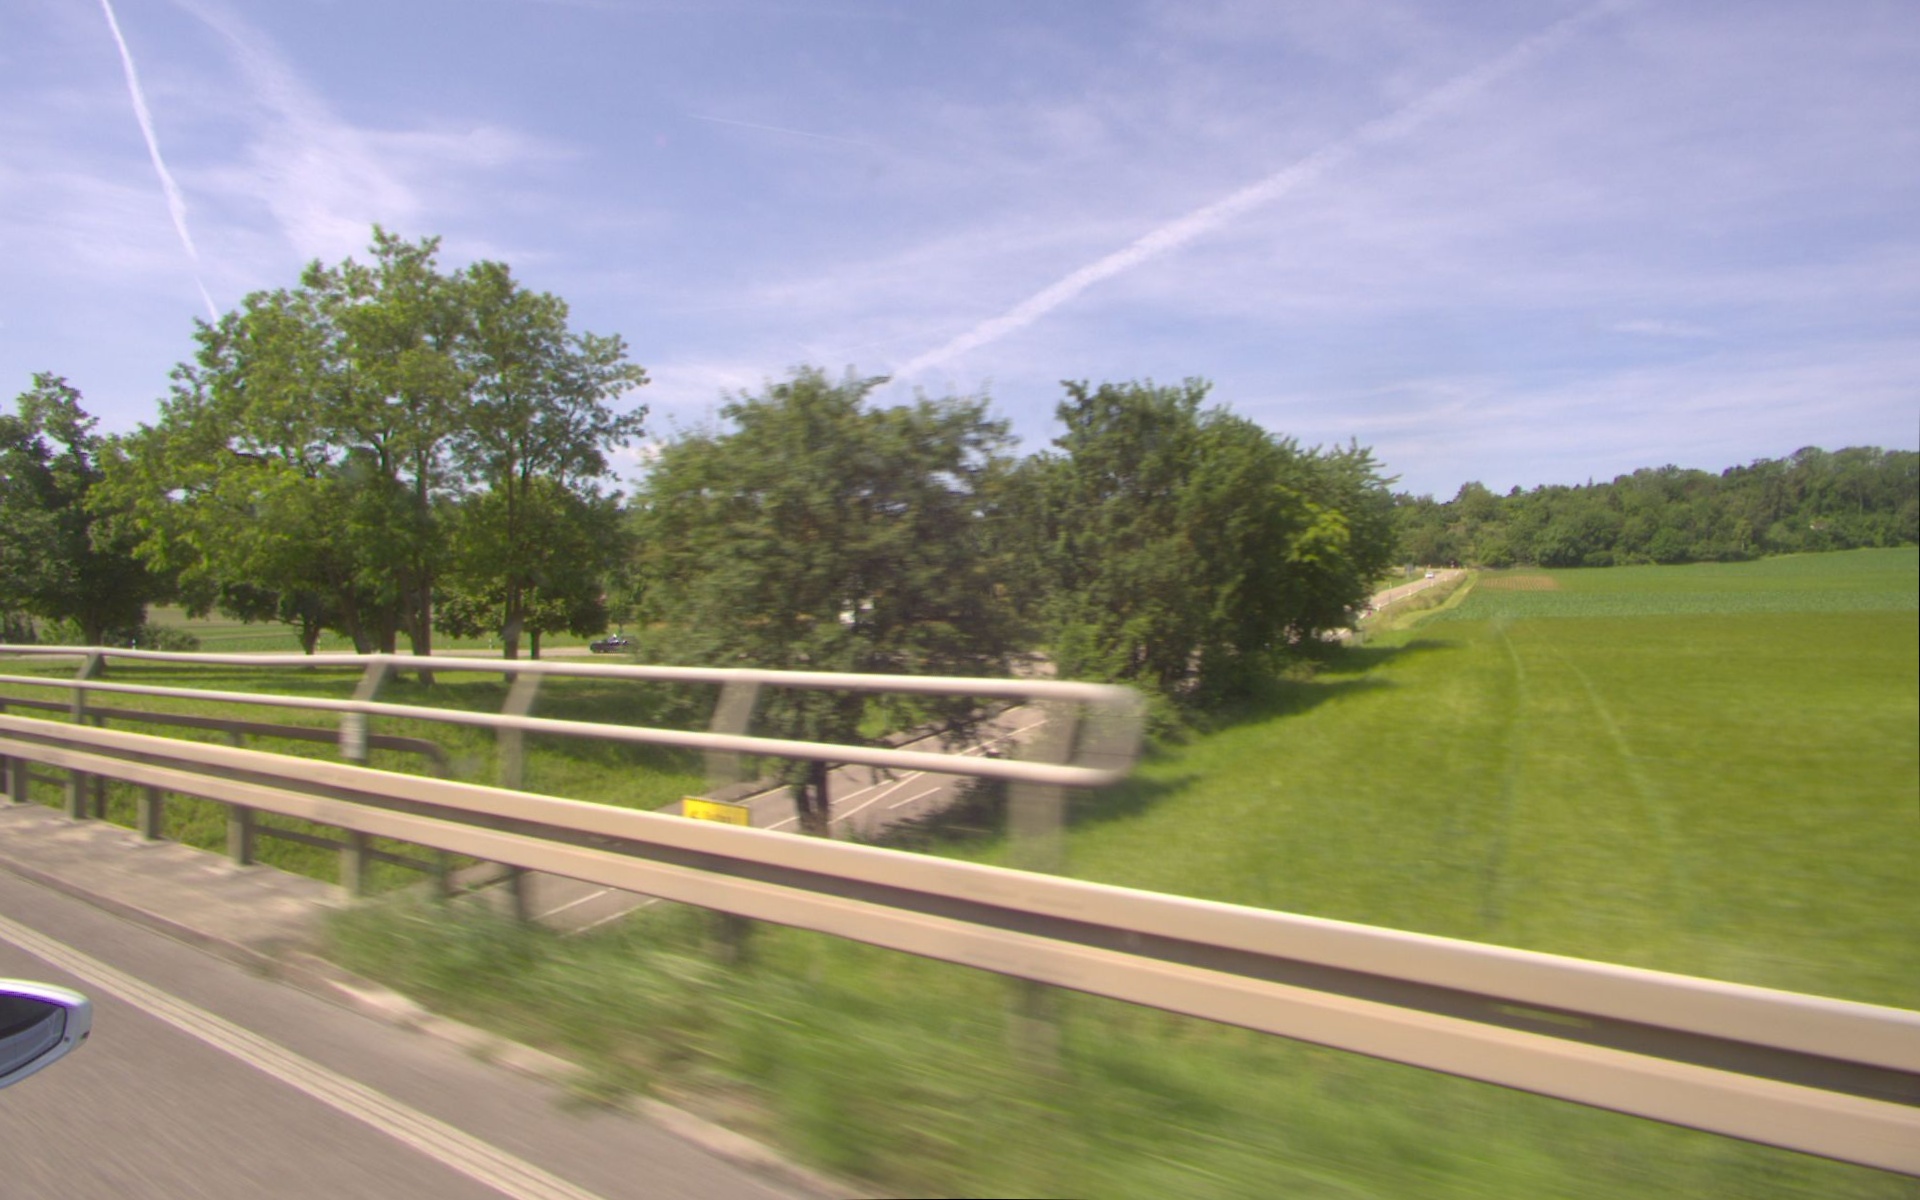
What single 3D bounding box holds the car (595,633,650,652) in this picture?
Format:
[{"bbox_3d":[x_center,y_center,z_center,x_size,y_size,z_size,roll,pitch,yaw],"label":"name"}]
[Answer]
[{"bbox_3d":[-30.440,3.791,90.359,4.348,1.610,2.062,1,-1,16],"label":"car"}]
